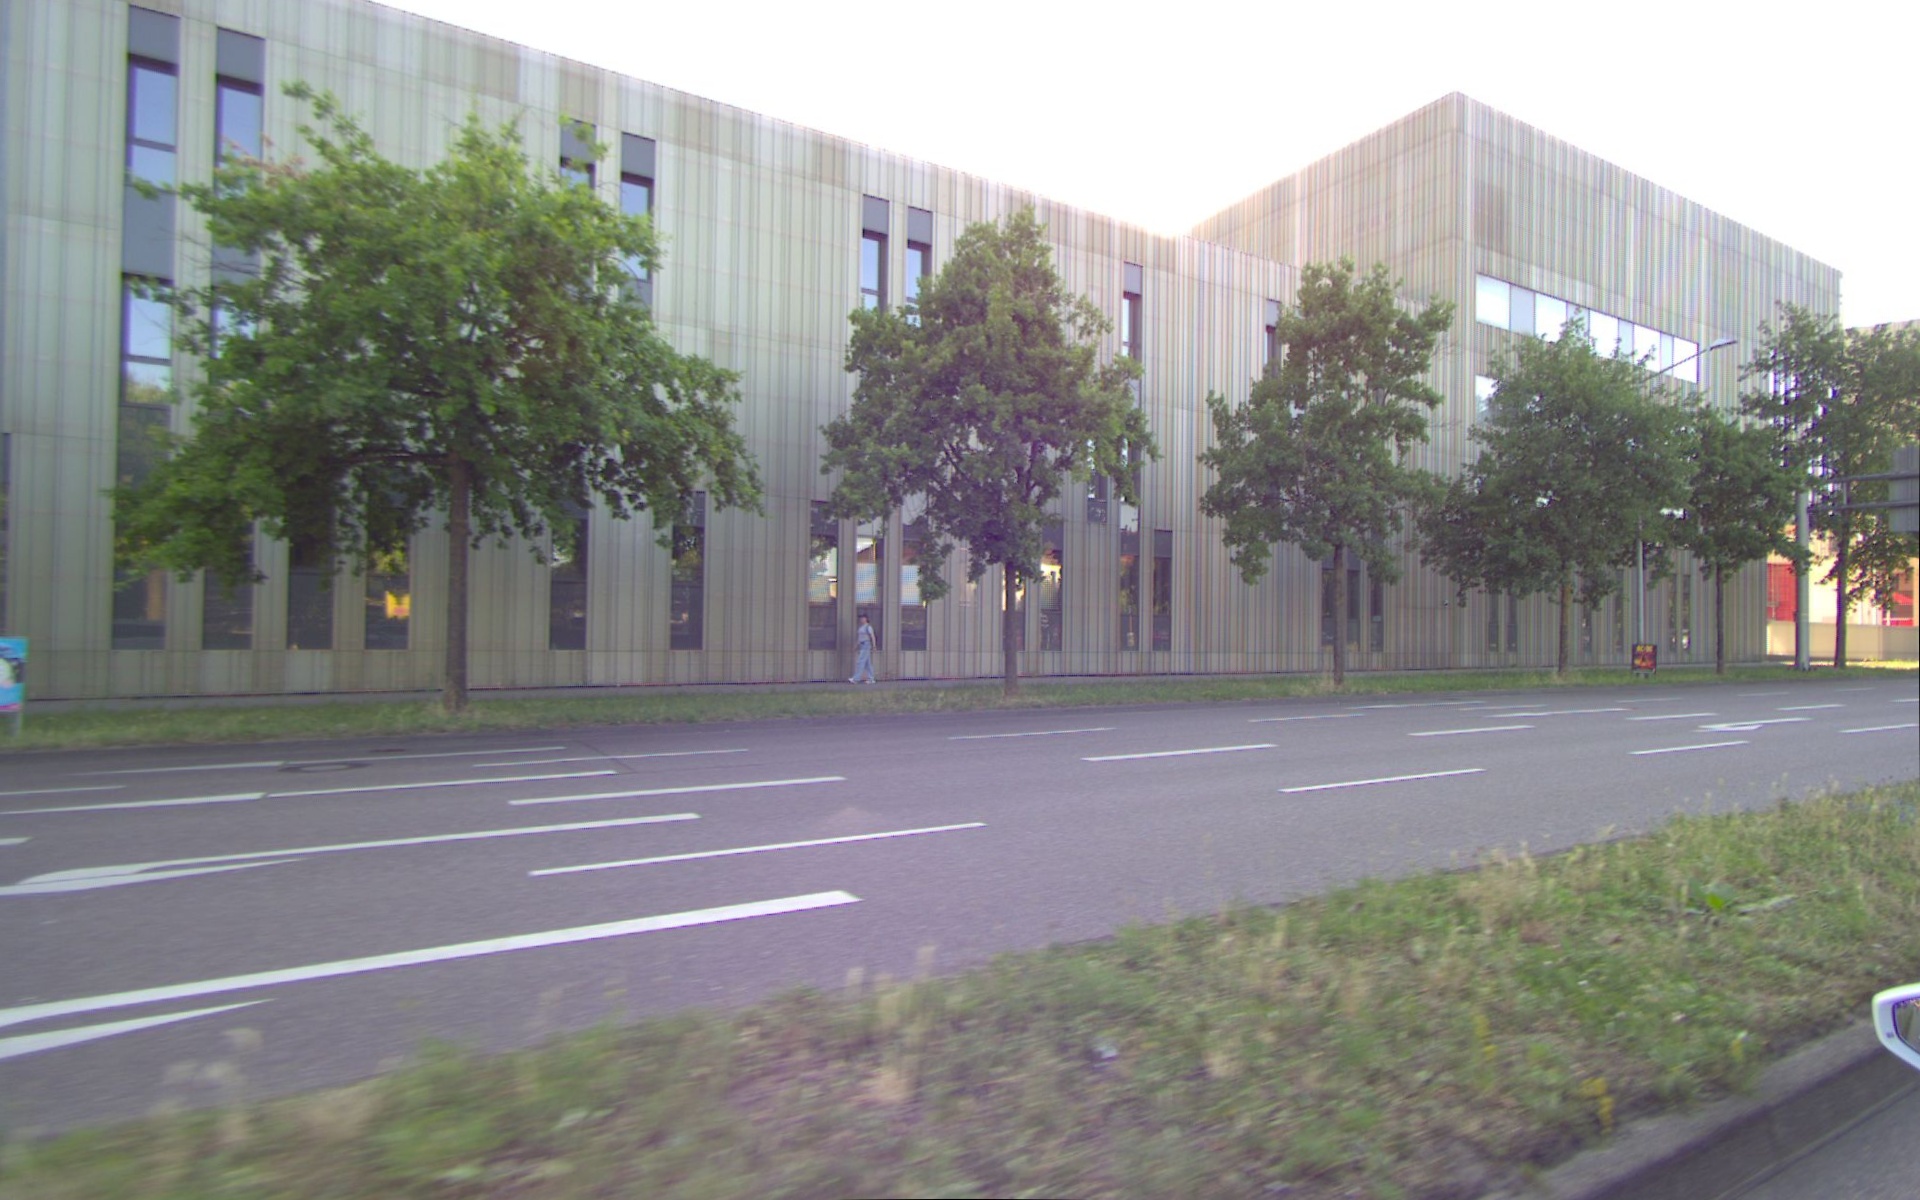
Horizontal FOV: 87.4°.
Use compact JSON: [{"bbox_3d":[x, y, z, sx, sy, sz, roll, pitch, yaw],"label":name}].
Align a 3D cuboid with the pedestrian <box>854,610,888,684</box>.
[{"bbox_3d":[-2.207,1.152,24.845,0.641,1.790,0.600,1,-1,-29],"label":"pedestrian"}]
